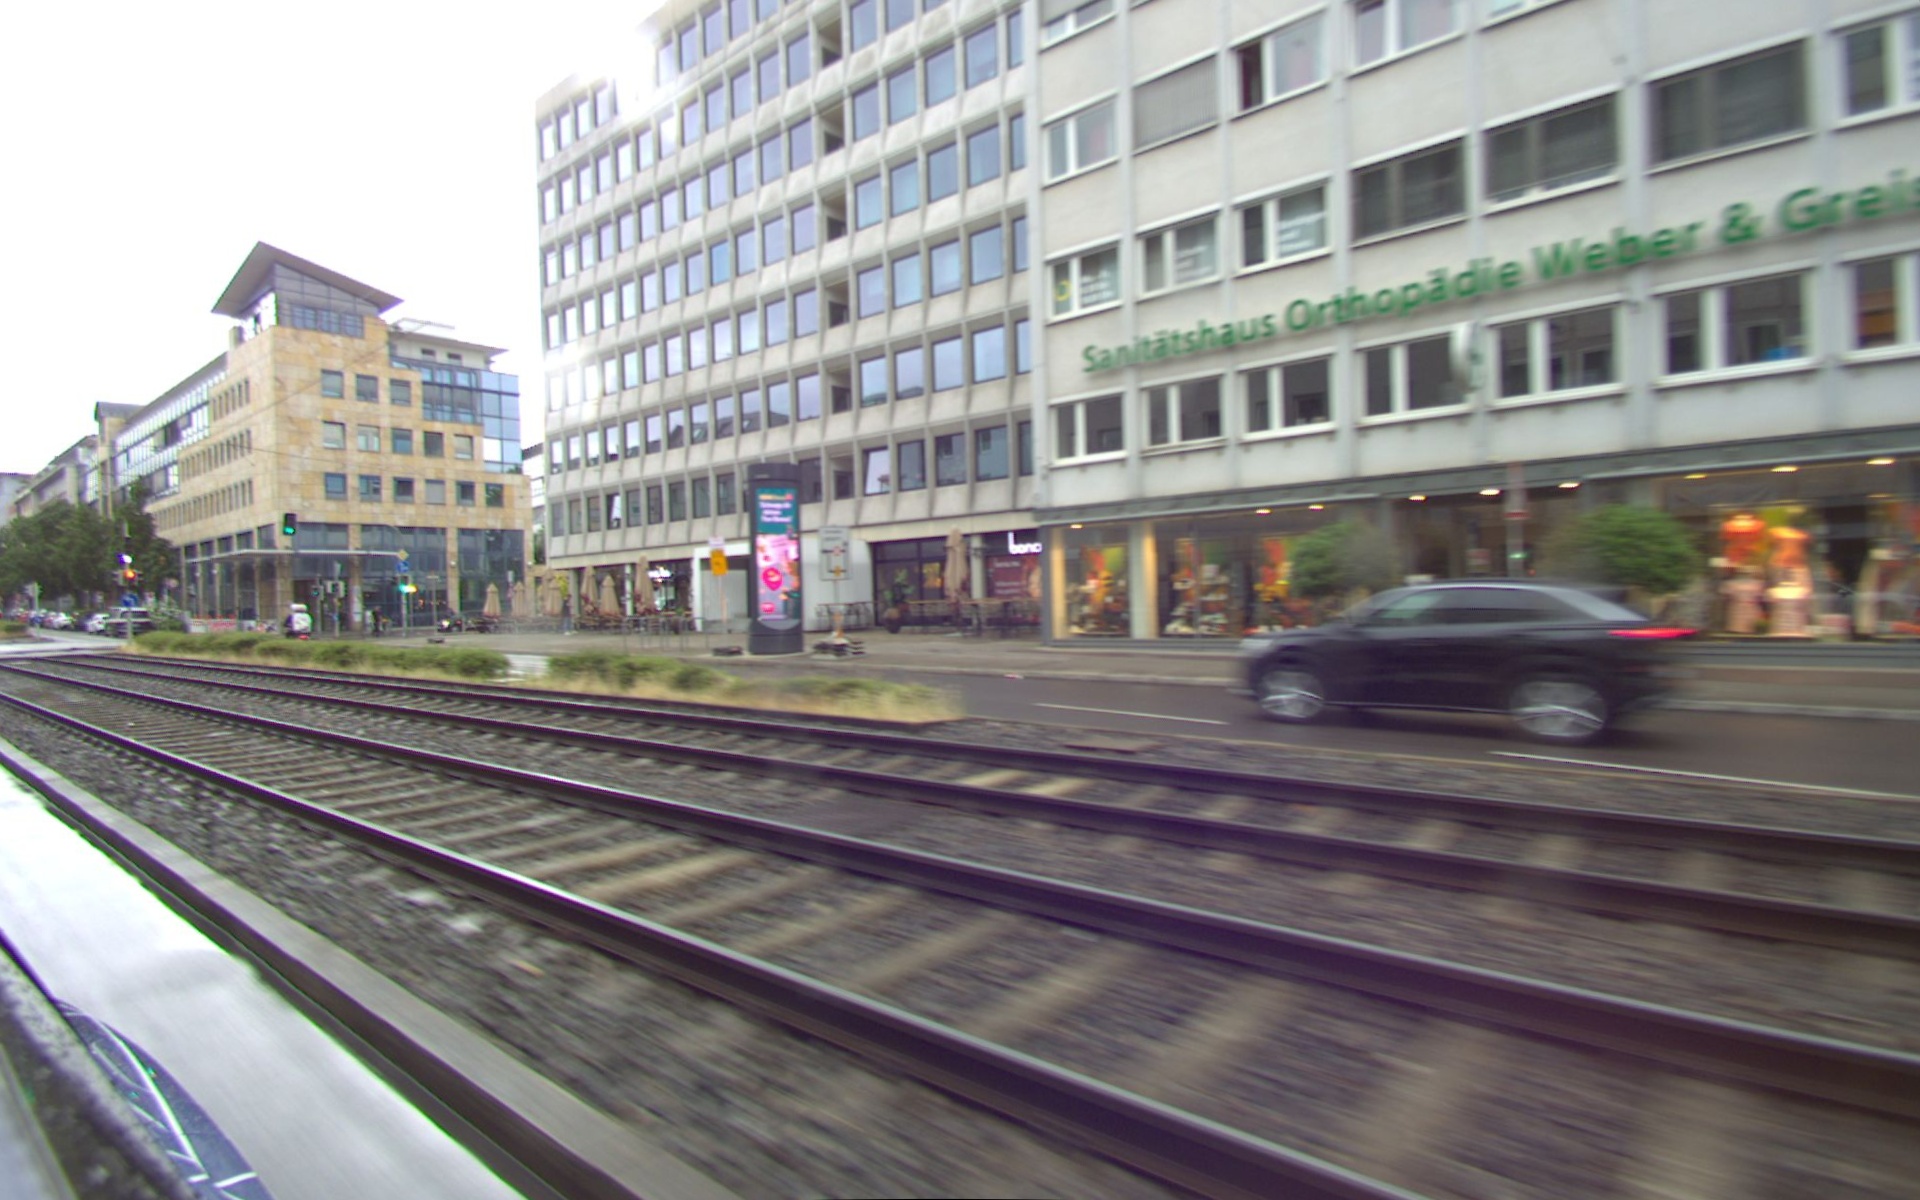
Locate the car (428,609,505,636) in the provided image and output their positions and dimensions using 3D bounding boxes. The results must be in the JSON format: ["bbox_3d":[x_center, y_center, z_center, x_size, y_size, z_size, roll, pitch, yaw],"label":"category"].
[{"bbox_3d":[-31.328,1.430,64.268,1.890,1.541,3.945,-2,0,42],"label":"car"}]

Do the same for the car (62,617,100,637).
[{"bbox_3d":[-69.558,2.128,80.051,3.996,1.497,1.672,-2,0,40],"label":"car"}]

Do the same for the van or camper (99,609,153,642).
[{"bbox_3d":[-56.038,1.672,67.965,5.195,2.012,1.996,0,1,41],"label":"van or camper"}]

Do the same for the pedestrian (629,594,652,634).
[{"bbox_3d":[-14.293,0.606,45.250,0.843,1.762,0.559,-2,0,37],"label":"pedestrian"}]

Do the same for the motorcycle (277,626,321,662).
[{"bbox_3d":[-21.387,1.409,32.725,1.931,1.067,0.734,-1,0,43],"label":"motorcycle"}]

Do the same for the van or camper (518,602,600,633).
[{"bbox_3d":[-28.422,1.221,71.894,2.095,2.077,5.031,-2,0,40],"label":"van or camper"}]

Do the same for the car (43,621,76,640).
[{"bbox_3d":[-77.260,2.621,86.782,4.291,1.509,1.632,-1,0,42],"label":"car"}]

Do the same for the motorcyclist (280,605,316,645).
[{"bbox_3d":[-21.376,0.800,32.693,0.970,1.226,0.733,-1,0,43],"label":"motorcyclist"}]

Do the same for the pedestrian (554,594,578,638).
[{"bbox_3d":[-16.586,0.679,42.607,0.843,1.836,0.559,-2,0,37],"label":"pedestrian"}]

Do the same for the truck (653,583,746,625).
[{"bbox_3d":[-20.712,0.288,80.861,2.459,3.188,7.078,-2,0,39],"label":"truck"}]

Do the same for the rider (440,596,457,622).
[{"bbox_3d":[-34.094,0.624,67.436,0.783,1.688,0.701,-2,0,41],"label":"rider"}]

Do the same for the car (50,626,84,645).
[{"bbox_3d":[-73.364,2.897,83.125,4.191,1.509,1.632,-1,0,42],"label":"car"}]

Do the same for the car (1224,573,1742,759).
[{"bbox_3d":[5.281,0.573,10.640,4.445,1.530,1.971,-2,0,44],"label":"car"}]

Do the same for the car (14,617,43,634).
[{"bbox_3d":[-90.780,2.472,98.644,4.620,1.552,1.632,-1,0,42],"label":"car"}]

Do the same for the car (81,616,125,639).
[{"bbox_3d":[-61.782,1.991,72.947,4.252,1.497,1.672,-2,0,40],"label":"car"}]

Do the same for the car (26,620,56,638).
[{"bbox_3d":[-86.456,2.697,95.233,4.620,1.552,1.632,-1,0,42],"label":"car"}]

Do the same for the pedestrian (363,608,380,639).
[{"bbox_3d":[-34.535,1.369,59.379,0.667,1.794,0.705,-2,0,-14],"label":"pedestrian"}]

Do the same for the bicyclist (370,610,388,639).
[{"bbox_3d":[-36.718,1.541,63.975,0.783,1.818,0.701,-2,0,41],"label":"bicyclist"}]

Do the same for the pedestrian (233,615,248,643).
[{"bbox_3d":[-47.250,1.903,66.454,0.679,1.828,0.693,-2,0,44],"label":"pedestrian"}]

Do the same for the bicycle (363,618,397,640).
[{"bbox_3d":[-36.753,1.824,64.121,0.659,1.321,1.746,-2,0,40],"label":"bicycle"}]
